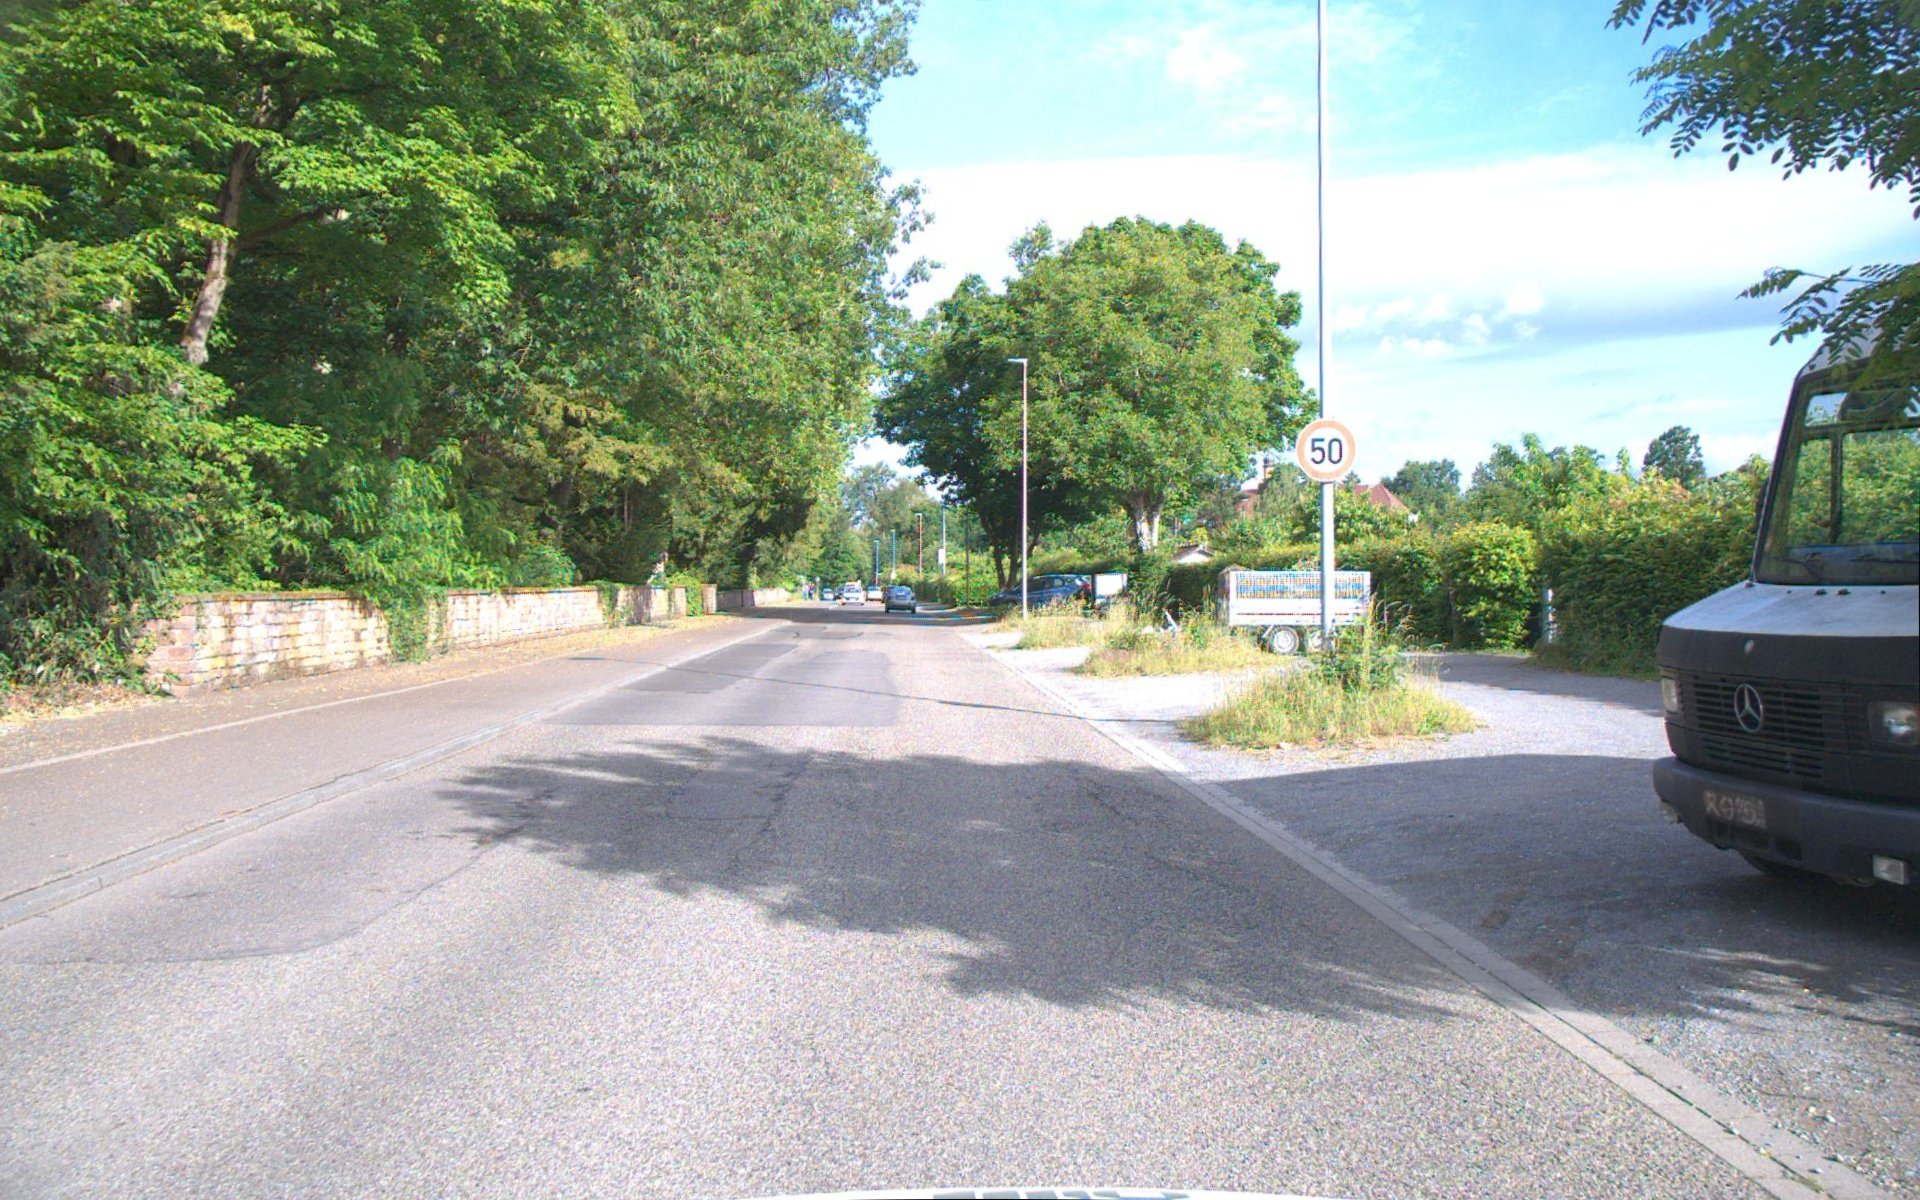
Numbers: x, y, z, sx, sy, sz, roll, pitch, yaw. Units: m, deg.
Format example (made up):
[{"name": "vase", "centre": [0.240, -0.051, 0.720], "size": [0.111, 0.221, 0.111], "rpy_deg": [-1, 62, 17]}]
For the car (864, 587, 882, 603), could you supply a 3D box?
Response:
[{"name": "car", "centre": [-9.097, -0.554, 172.625], "size": [1.849, 1.641, 4.052], "rpy_deg": [0, 0, -4]}]

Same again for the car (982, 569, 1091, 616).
[{"name": "car", "centre": [3.145, -0.328, 68.549], "size": [4.315, 1.675, 1.999], "rpy_deg": [-3, 0, -2]}]

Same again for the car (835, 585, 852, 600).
[{"name": "car", "centre": [-13.303, -0.838, 189.374], "size": [1.849, 1.641, 4.052], "rpy_deg": [0, 0, -4]}]

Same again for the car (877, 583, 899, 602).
[{"name": "car", "centre": [-6.392, -0.655, 147.082], "size": [1.849, 1.641, 4.052], "rpy_deg": [0, 0, -4]}]

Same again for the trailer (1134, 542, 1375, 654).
[{"name": "trailer", "centre": [5.316, -0.050, 30.306], "size": [4.066, 1.867, 1.917], "rpy_deg": [-2, 0, 1]}]

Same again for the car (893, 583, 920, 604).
[{"name": "car", "centre": [-3.905, -0.504, 120.123], "size": [1.849, 1.490, 4.052], "rpy_deg": [0, 0, -4]}]

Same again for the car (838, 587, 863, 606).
[{"name": "car", "centre": [-8.684, -0.293, 130.669], "size": [1.850, 1.396, 4.050], "rpy_deg": [0, 0, -5]}]

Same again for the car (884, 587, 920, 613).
[{"name": "car", "centre": [-3.225, -0.001, 91.532], "size": [1.849, 1.396, 4.052], "rpy_deg": [0, 0, -4]}]

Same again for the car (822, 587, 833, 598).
[{"name": "car", "centre": [-18.812, -1.097, 234.655], "size": [1.546, 1.477, 3.396], "rpy_deg": [-1, 1, -4]}]

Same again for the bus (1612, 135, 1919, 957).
[{"name": "bus", "centre": [5.763, -0.282, 6.924], "size": [5.261, 2.794, 2.066], "rpy_deg": [-2, 1, -6]}]

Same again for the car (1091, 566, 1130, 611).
[{"name": "car", "centre": [6.081, -0.482, 66.658], "size": [1.322, 1.661, 4.115], "rpy_deg": [-3, 1, 7]}]
